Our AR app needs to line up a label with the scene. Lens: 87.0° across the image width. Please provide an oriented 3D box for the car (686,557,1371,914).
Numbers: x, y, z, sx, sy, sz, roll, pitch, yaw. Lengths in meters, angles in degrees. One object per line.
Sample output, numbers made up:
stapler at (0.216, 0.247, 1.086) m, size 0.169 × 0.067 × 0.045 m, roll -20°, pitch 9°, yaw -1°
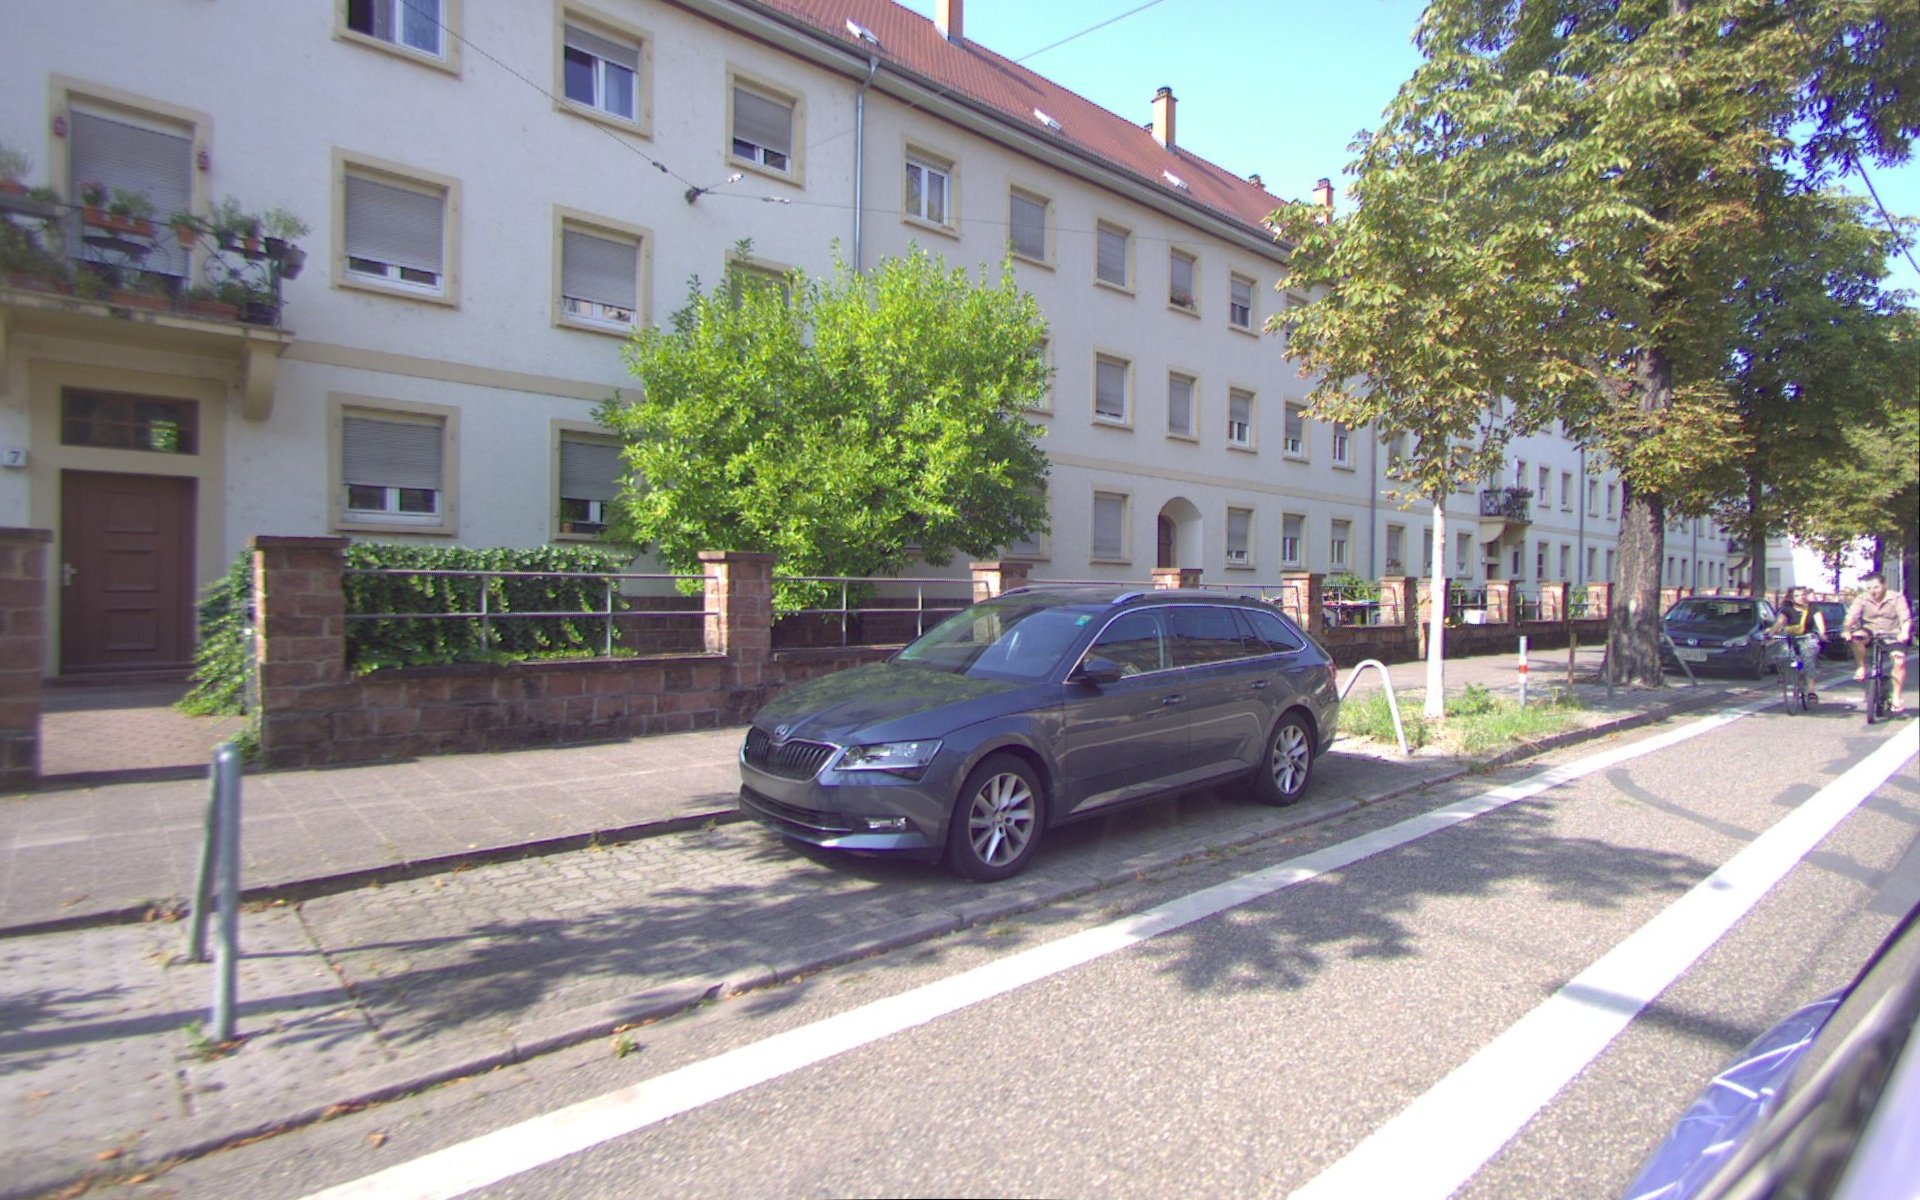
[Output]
car at (0.742, 0.564, 6.665) m, size 4.637 × 1.580 × 1.747 m, roll 0°, pitch 1°, yaw -41°

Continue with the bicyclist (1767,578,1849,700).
bicyclist at (10.810, 0.483, 12.897) m, size 0.893 × 1.493 × 0.655 m, roll 0°, pitch -2°, yaw -42°

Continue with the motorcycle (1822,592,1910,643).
motorcycle at (27.172, 0.515, 30.374) m, size 0.693 × 1.306 × 1.857 m, roll 7°, pitch -1°, yaw -44°

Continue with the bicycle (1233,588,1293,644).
bicycle at (5.986, 0.301, 19.943) m, size 1.462 × 1.073 × 0.416 m, roll 0°, pitch 1°, yaw -42°

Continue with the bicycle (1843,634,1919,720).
bicycle at (11.112, 0.887, 12.120) m, size 1.499 × 0.920 × 0.627 m, roll 0°, pitch -1°, yaw -43°

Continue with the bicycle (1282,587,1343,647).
bicycle at (6.645, 0.307, 19.043) m, size 1.462 × 1.073 × 0.416 m, roll 0°, pitch 1°, yaw -42°

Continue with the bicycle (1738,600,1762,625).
bicycle at (34.988, 0.552, 44.841) m, size 1.698 × 1.087 × 0.524 m, roll 0°, pitch 0°, yaw -41°

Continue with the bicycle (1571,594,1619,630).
bicycle at (20.534, 0.366, 32.704) m, size 2.295 × 1.118 × 0.772 m, roll 0°, pitch 0°, yaw -44°

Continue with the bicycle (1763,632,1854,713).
bicycle at (10.810, 0.884, 12.871) m, size 1.745 × 0.920 × 0.655 m, roll 0°, pitch -1°, yaw -43°

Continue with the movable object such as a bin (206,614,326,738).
movable object such as a bin at (-5.510, 0.579, 8.041) m, size 0.735 × 0.908 × 0.507 m, roll 0°, pitch 1°, yaw -41°

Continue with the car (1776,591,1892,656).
car at (22.366, 0.550, 25.857) m, size 4.262 × 1.452 × 1.693 m, roll 0°, pitch 3°, yaw -42°

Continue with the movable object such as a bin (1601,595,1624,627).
movable object such as a bin at (22.756, 0.386, 35.303) m, size 0.649 × 1.083 × 0.507 m, roll 0°, pitch 0°, yaw -41°

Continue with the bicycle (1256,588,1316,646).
bicycle at (6.341, 0.314, 19.641) m, size 1.462 × 1.073 × 0.416 m, roll 0°, pitch 1°, yaw -42°

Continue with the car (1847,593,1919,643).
car at (30.146, 0.533, 32.731) m, size 4.172 × 1.466 × 1.648 m, roll 0°, pitch 3°, yaw -42°

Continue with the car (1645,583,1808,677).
car at (14.455, 0.479, 19.015) m, size 4.026 × 1.520 × 1.692 m, roll 0°, pitch 3°, yaw -42°

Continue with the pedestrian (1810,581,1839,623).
pedestrian at (37.269, 0.085, 43.617) m, size 0.861 × 1.771 × 0.755 m, roll 1°, pitch 0°, yaw -35°

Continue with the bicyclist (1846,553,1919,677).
bicyclist at (11.106, 0.180, 12.118) m, size 0.913 × 1.419 × 0.627 m, roll 0°, pitch -2°, yaw -42°

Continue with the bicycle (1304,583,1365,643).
bicycle at (6.931, 0.232, 18.688) m, size 1.462 × 1.073 × 0.416 m, roll 0°, pitch 1°, yaw -42°

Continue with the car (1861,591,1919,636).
car at (35.813, 0.472, 38.409) m, size 3.770 × 1.559 × 1.651 m, roll 0°, pitch 2°, yaw -36°
